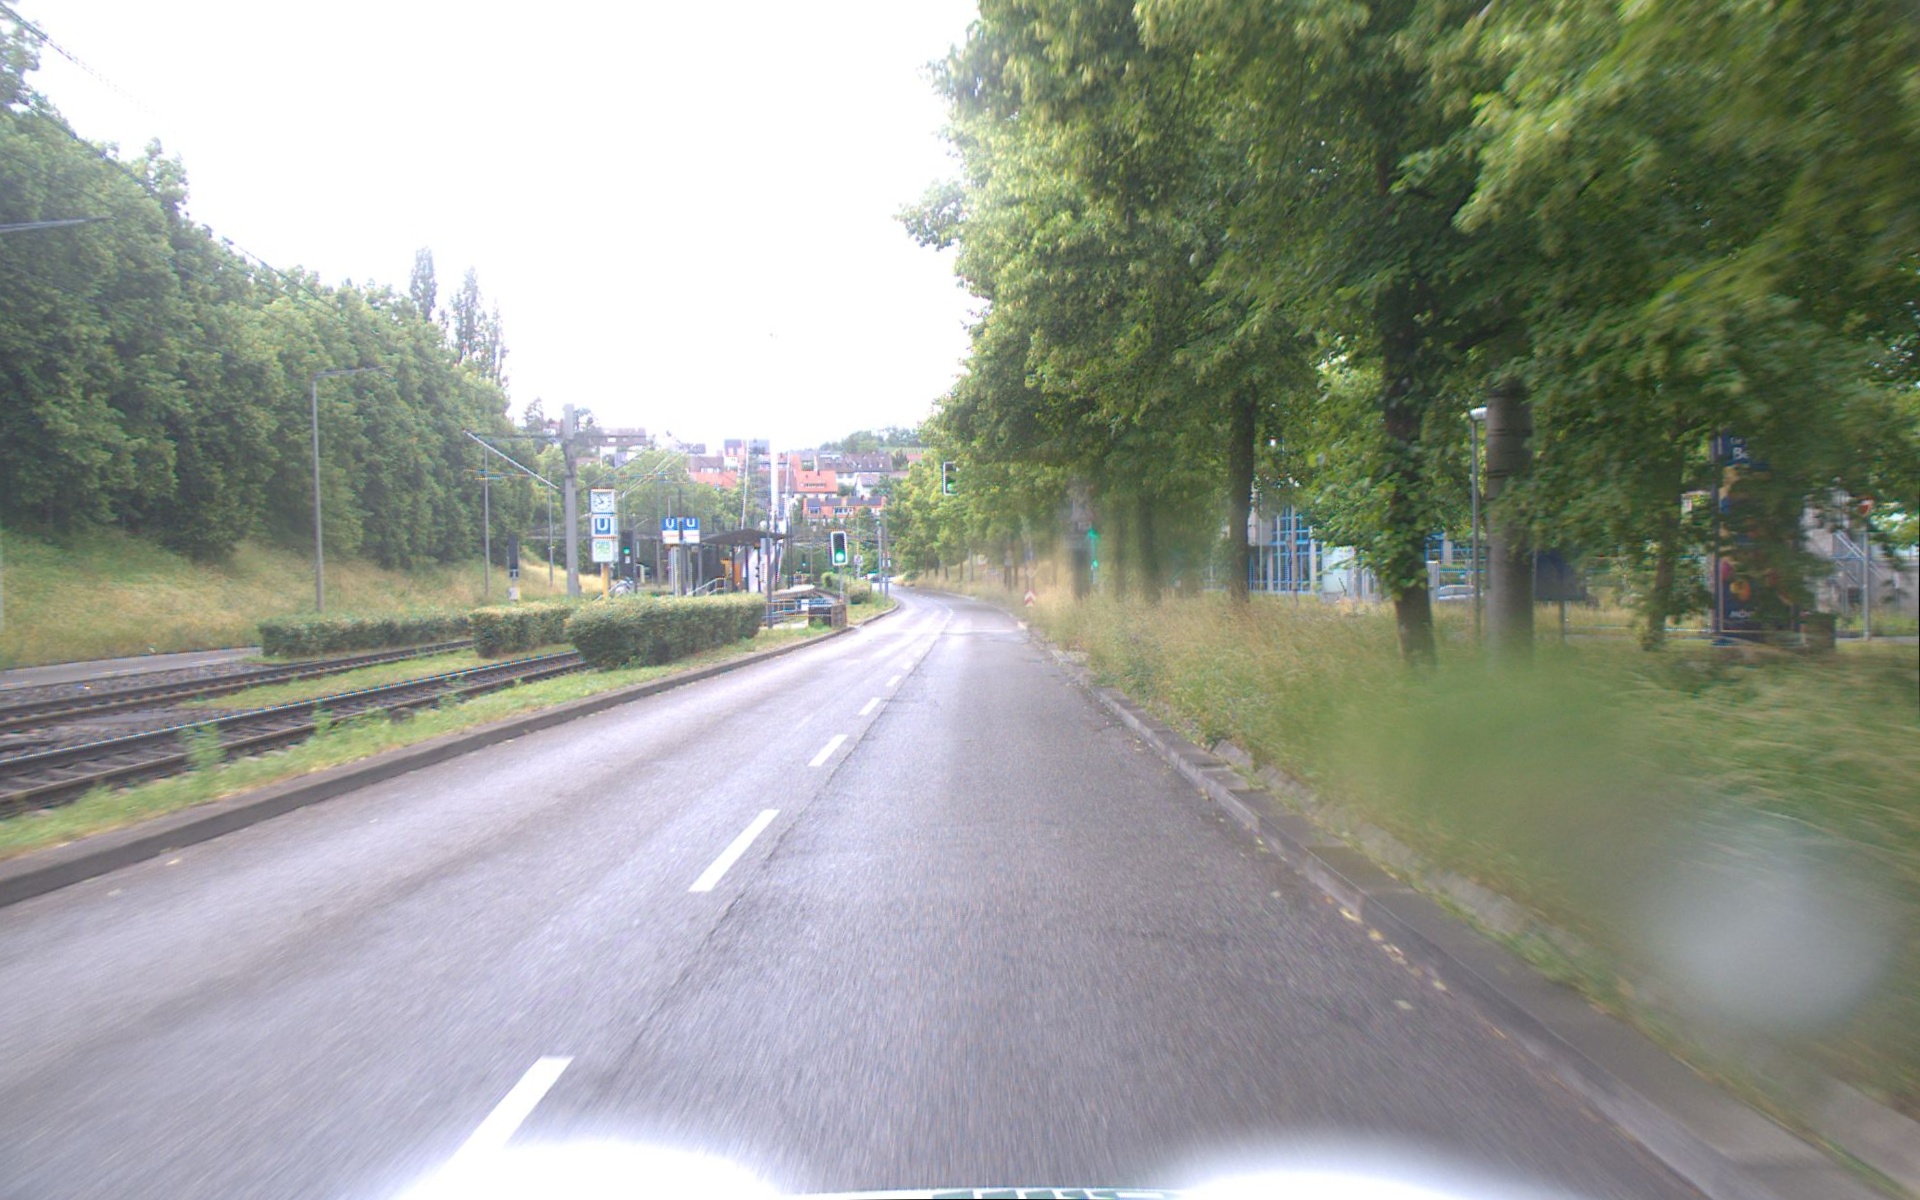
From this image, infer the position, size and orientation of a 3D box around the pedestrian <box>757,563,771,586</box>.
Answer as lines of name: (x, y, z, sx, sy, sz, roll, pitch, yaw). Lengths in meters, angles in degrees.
pedestrian: (-13.954, -1.796, 117.684, 0.916, 1.639, 1.026, -1, 1, -3)
